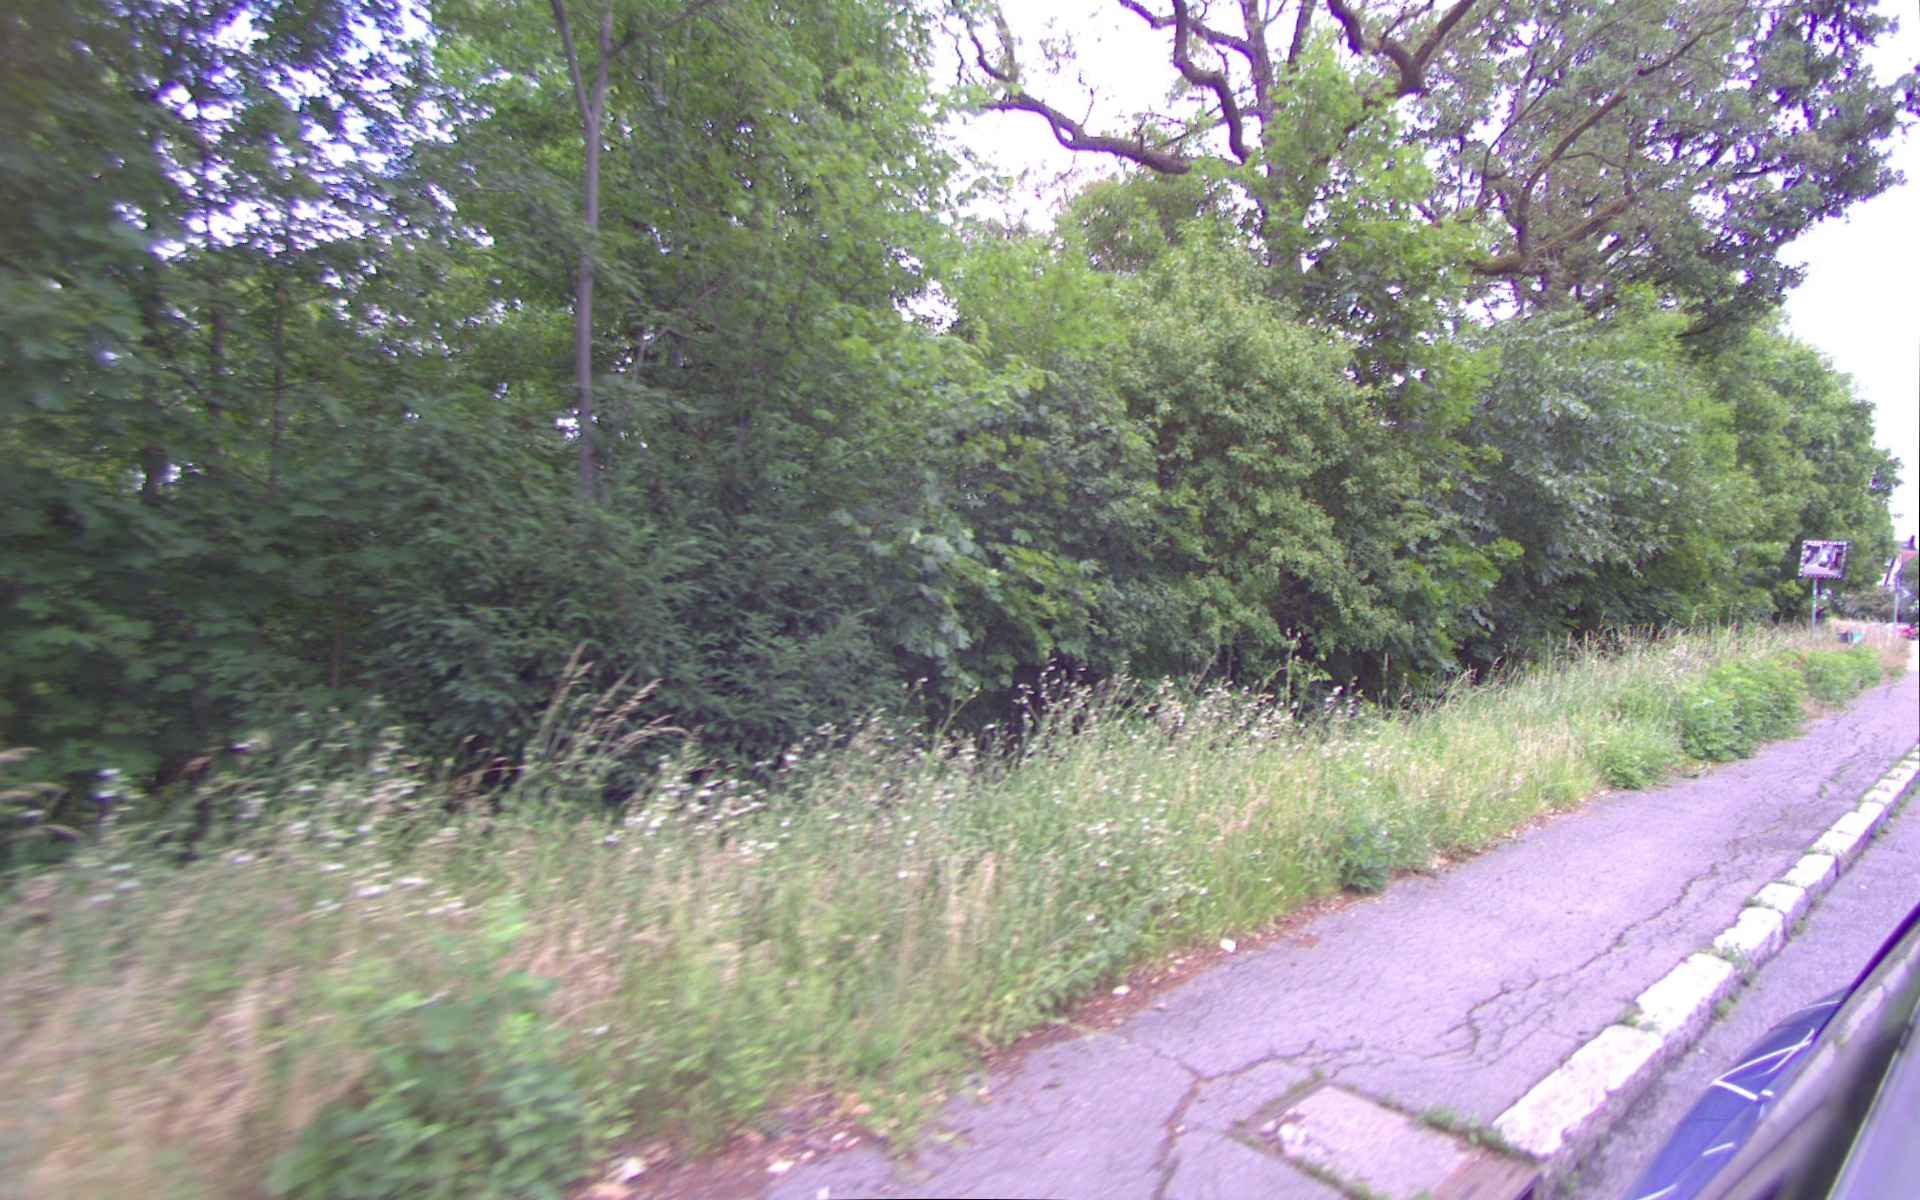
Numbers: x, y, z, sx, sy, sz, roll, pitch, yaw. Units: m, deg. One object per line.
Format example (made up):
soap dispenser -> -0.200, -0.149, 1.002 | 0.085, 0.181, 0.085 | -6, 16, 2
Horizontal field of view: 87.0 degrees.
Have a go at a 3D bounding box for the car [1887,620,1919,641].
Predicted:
car -> 83.561, 2.651, 89.079 | 1.984, 1.709, 4.659 | 1, 0, 31

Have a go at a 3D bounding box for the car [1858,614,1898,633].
car -> 88.512, 2.215, 97.626 | 1.985, 1.709, 4.656 | 1, 0, 32
